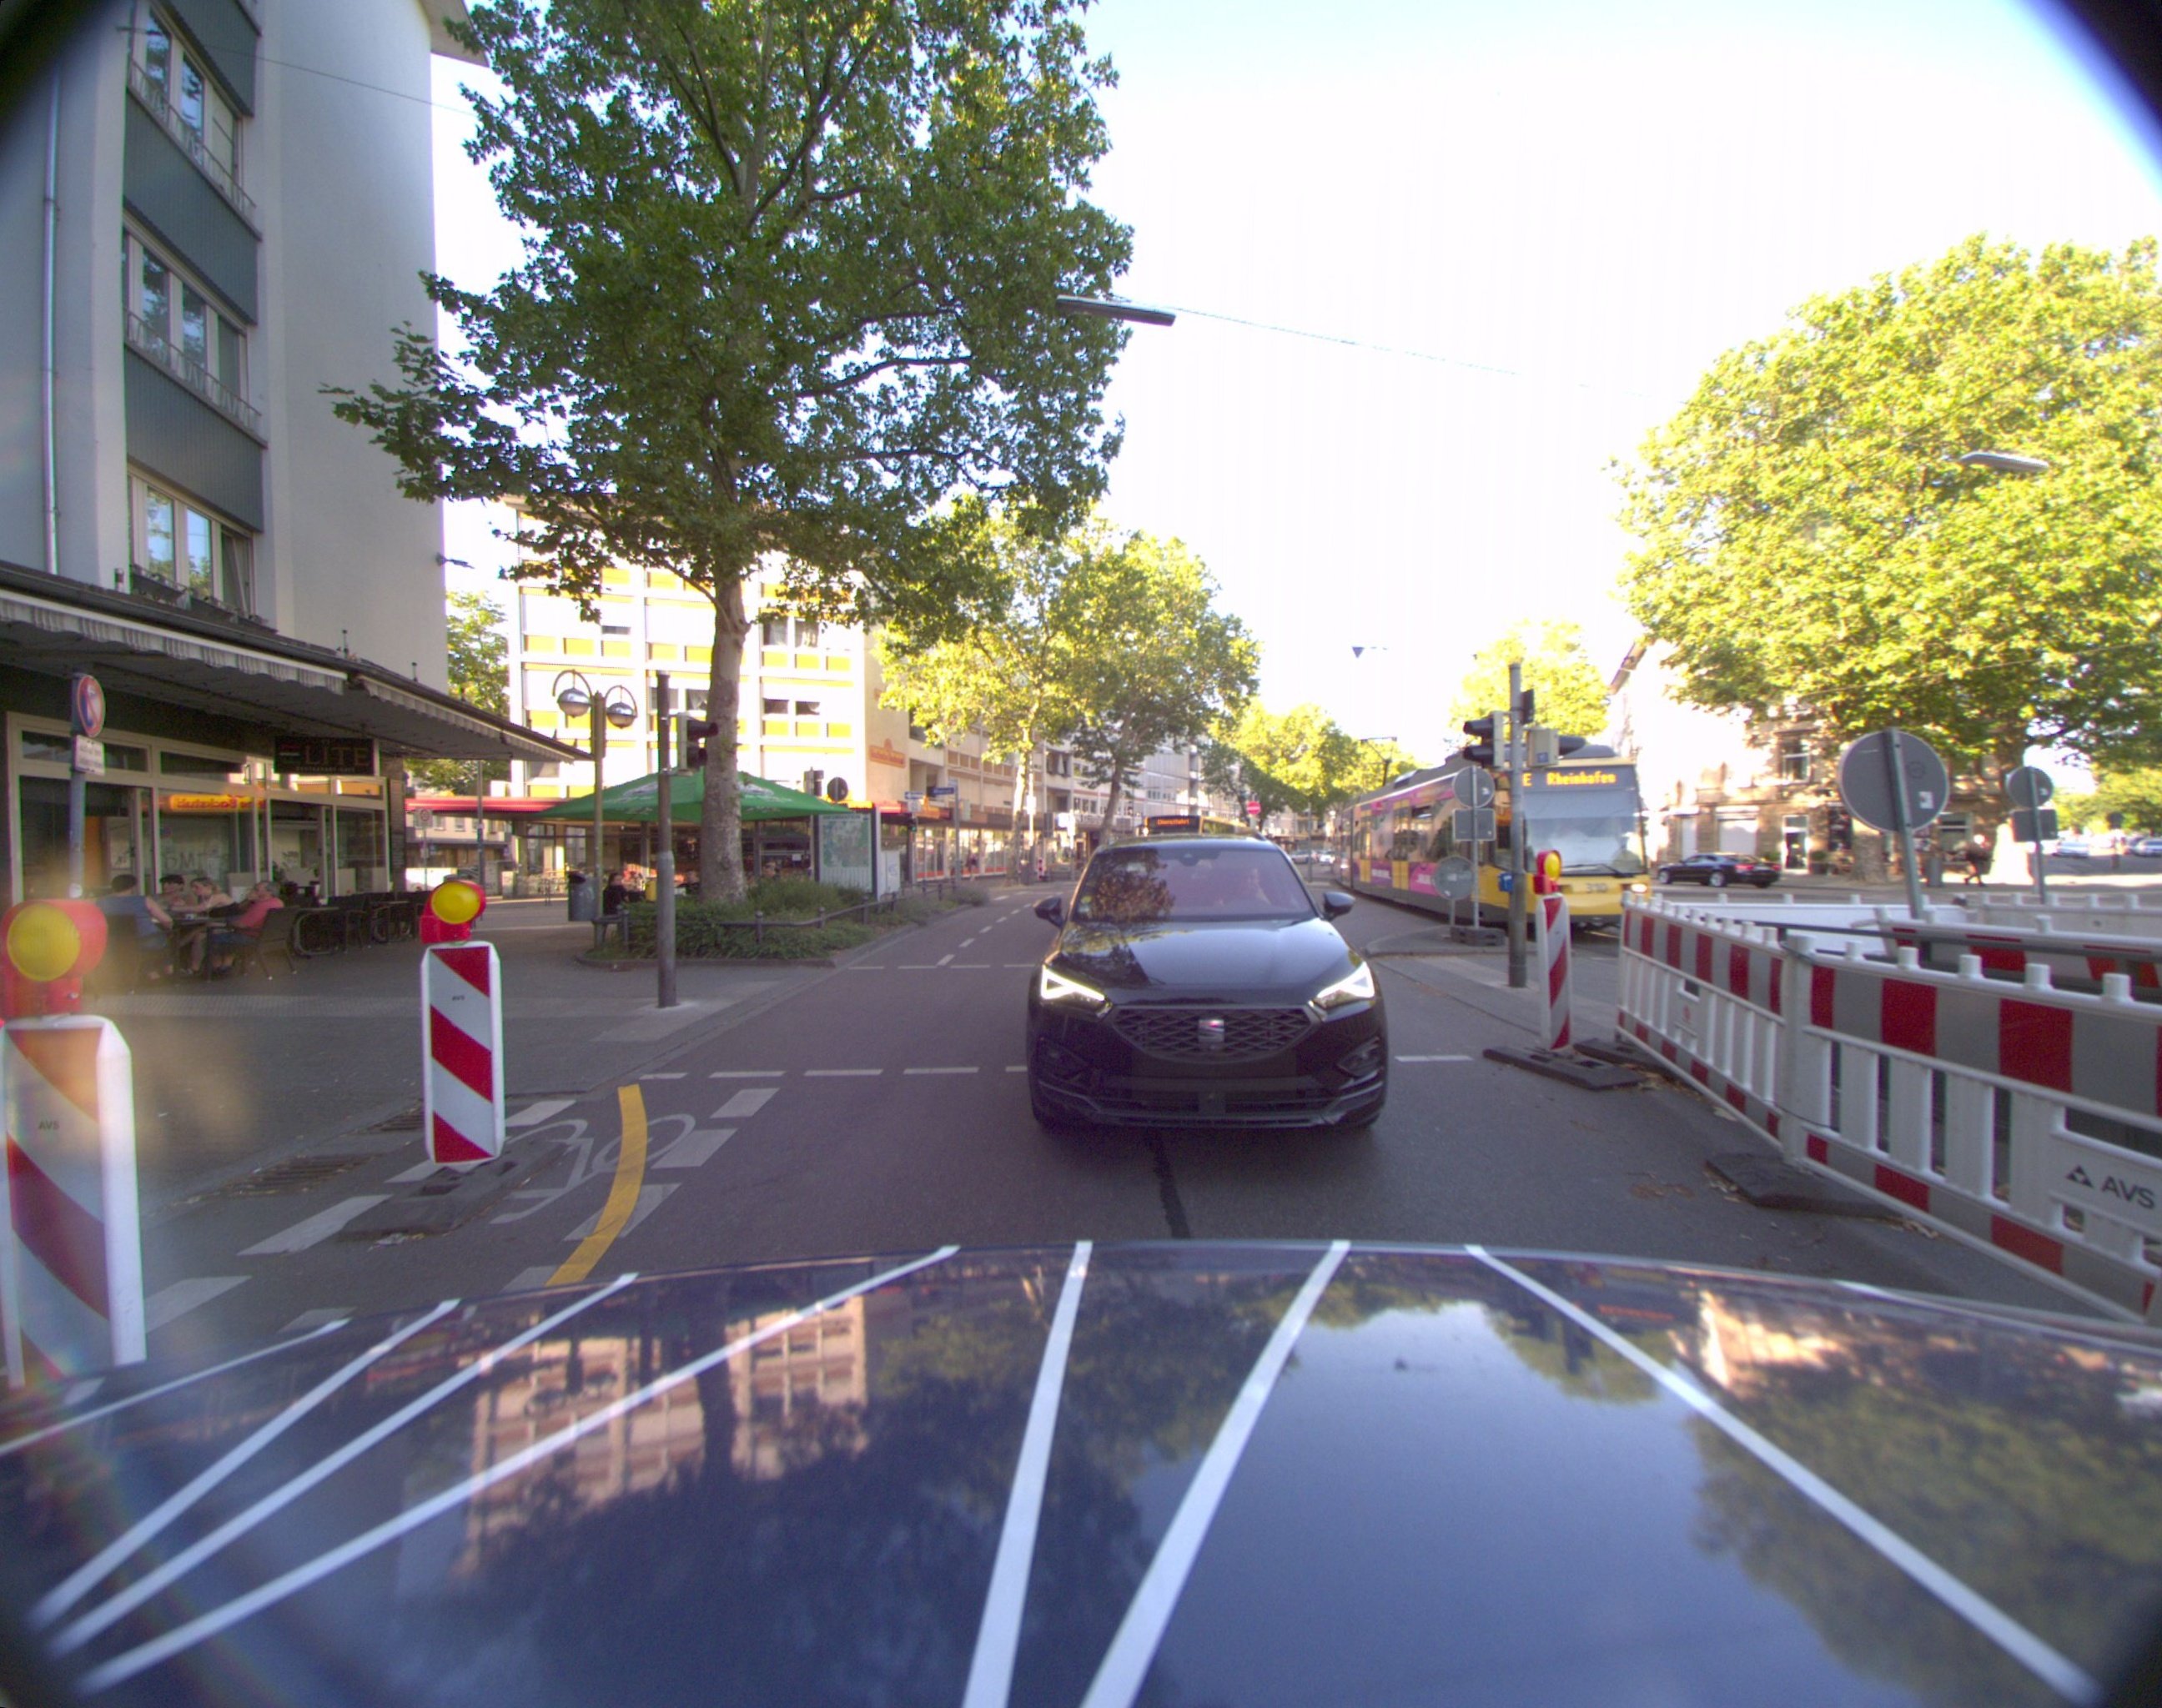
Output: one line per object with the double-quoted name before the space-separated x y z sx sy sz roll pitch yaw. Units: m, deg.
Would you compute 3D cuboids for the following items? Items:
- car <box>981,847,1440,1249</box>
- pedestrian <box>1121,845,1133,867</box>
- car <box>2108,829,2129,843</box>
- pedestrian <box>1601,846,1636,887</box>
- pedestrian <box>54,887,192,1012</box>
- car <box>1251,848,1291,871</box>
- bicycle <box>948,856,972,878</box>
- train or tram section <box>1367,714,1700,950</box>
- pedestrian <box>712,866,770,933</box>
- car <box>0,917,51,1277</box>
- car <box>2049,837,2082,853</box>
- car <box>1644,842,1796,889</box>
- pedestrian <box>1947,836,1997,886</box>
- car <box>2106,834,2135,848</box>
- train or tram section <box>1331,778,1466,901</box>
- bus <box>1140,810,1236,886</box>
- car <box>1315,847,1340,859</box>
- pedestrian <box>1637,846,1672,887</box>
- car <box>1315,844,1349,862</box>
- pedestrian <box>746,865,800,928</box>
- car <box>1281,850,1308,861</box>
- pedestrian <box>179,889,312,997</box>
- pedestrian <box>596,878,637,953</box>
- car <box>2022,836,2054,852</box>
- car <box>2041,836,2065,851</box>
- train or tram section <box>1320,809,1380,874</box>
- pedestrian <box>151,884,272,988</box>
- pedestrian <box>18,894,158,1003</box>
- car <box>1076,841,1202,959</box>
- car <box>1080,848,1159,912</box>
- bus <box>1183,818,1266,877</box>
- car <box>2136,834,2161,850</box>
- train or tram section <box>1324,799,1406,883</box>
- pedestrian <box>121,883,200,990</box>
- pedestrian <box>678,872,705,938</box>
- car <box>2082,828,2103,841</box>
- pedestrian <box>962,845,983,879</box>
"car" 0.678 0.807 5.307 1.848 1.648 4.300 -2 0 4
"pedestrian" 3.618 0.135 59.992 0.748 1.747 0.903 0 1 17
"car" 160.935 -2.805 117.852 4.007 2.004 1.846 -1 1 -36
"pedestrian" 20.122 0.456 28.437 0.799 1.500 0.800 -1 1 -28
"pedestrian" -10.226 0.985 8.145 0.651 1.244 0.716 1 0 -24
"car" 13.594 0.375 54.223 1.908 1.467 4.425 0 1 26
"bicycle" -6.675 0.706 42.029 0.528 1.136 1.976 0 1 15
"train or tram section" 8.667 -0.355 16.508 2.821 3.467 10.346 -1 1 11
"pedestrian" -6.815 0.892 15.257 0.718 1.278 0.769 -1 1 14
"car" -5.161 0.993 1.422 1.623 1.457 3.604 2 0 -2
"car" 90.956 -0.840 70.161 4.007 1.485 1.723 -1 1 -36
"car" 25.293 0.417 30.321 1.900 1.657 4.584 -2 1 -6
"pedestrian" 31.592 0.247 26.950 0.797 1.746 0.802 -1 1 0
"car" 108.508 -1.338 79.311 4.007 1.485 1.723 -1 0 -36
"train or tram section" 10.680 -0.450 26.664 2.839 3.467 10.348 -1 1 14
"bus" 5.292 -0.297 35.704 2.749 3.085 9.509 0 1 18
"car" 29.784 -0.133 91.812 2.627 1.464 1.201 -1 2 3
"pedestrian" 21.173 0.448 28.052 0.799 1.500 0.800 -1 1 -31
"car" 23.305 -0.081 70.389 1.952 1.541 4.765 0 2 31
"pedestrian" -6.548 0.889 16.181 0.718 1.278 0.769 -1 1 13
"car" 23.917 0.170 85.020 2.629 1.209 1.200 -1 2 -6
"pedestrian" -9.854 1.020 8.996 0.847 1.191 0.649 1 0 -22
"pedestrian" -7.788 1.013 12.745 0.469 1.212 0.431 -2 1 -44
"car" 93.483 -1.012 74.200 4.007 1.485 1.723 -1 1 -36
"car" 134.283 -1.475 104.955 4.007 2.004 1.846 -1 1 -36
"train or tram section" 16.302 -0.739 46.674 2.839 3.467 10.350 -1 1 16
"pedestrian" -10.699 0.987 9.376 0.666 1.211 0.717 0 0 -5
"pedestrian" -11.093 1.027 8.520 0.718 1.123 0.649 1 0 -24
"car" 1.028 0.644 12.936 1.743 1.630 4.300 -2 0 6
"car" 1.139 0.628 20.480 1.743 1.492 4.301 -2 0 7
"bus" 8.630 -0.410 44.594 2.748 3.085 9.511 0 1 23
"car" 98.193 -1.101 69.650 4.007 1.485 1.723 -1 1 -36
"train or tram section" 13.410 -0.602 36.673 2.874 3.467 10.350 -1 1 16
"pedestrian" -11.250 0.987 9.288 0.519 1.236 0.553 0 0 34
"pedestrian" -7.418 0.963 14.480 0.433 1.212 0.467 1 1 -29
"car" 155.933 -2.973 117.072 4.007 2.004 1.846 -1 1 -36
"pedestrian" -5.586 0.406 39.221 0.748 1.747 0.903 0 1 17
